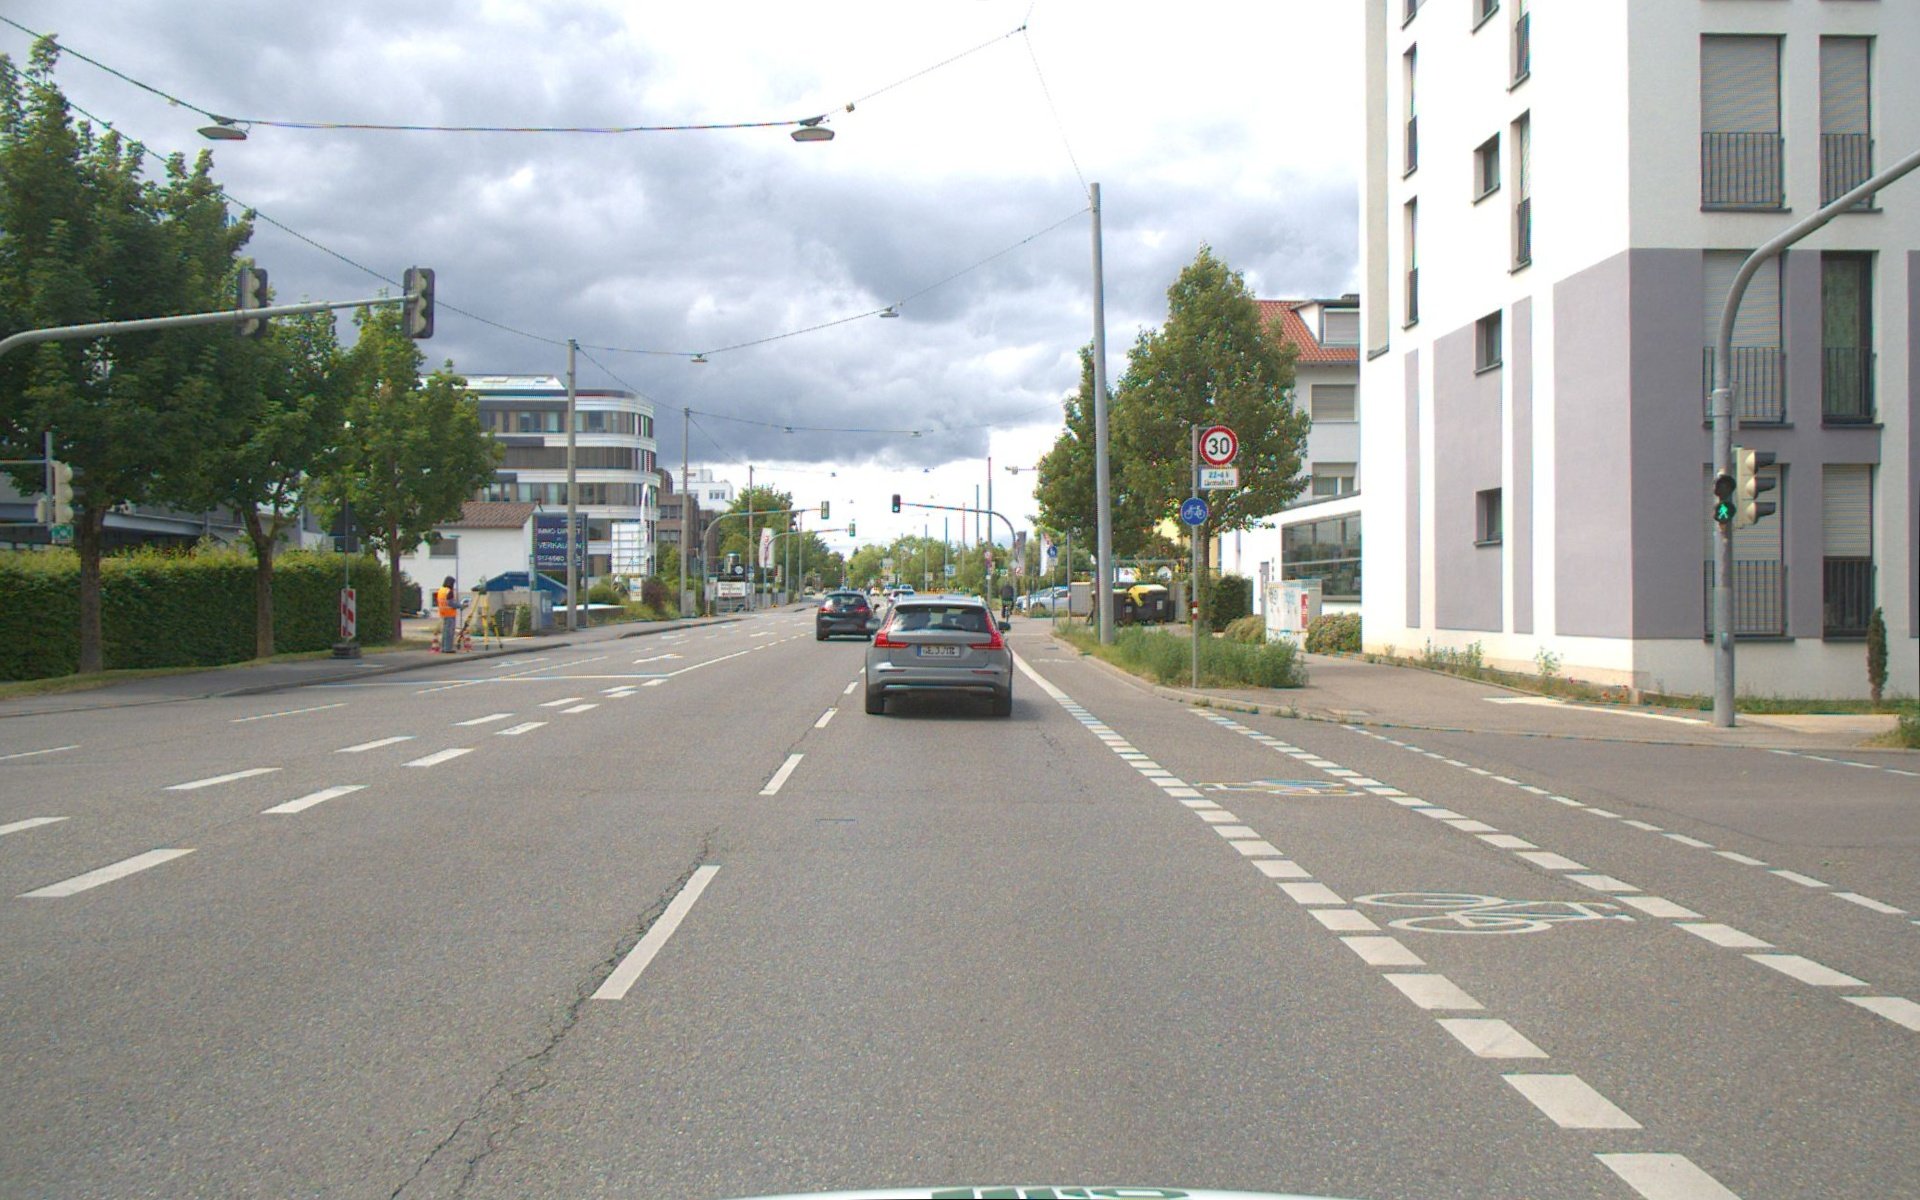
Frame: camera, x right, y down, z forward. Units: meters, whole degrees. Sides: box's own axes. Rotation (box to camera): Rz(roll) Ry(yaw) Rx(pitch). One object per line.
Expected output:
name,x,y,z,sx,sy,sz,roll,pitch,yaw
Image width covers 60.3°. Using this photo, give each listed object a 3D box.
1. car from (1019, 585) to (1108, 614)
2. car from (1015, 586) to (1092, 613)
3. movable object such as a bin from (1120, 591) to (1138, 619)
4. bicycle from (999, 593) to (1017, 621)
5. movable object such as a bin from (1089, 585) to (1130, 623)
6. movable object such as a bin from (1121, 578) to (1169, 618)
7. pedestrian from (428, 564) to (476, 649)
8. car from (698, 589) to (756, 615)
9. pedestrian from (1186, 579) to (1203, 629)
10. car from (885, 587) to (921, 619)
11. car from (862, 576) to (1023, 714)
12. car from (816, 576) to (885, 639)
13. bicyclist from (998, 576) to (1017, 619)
car,5.587,-0.036,89.574,4.601,1.519,2.045,1,1,-2
car,5.365,-0.037,95.344,4.281,1.428,1.988,1,0,-3
movable object such as a bin,6.280,0.191,61.388,0.557,1.044,0.404,-1,-1,36
bicycle,1.985,0.286,68.532,0.625,1.081,1.977,-4,0,-1
movable object such as a bin,5.458,0.147,60.514,1.291,1.385,1.252,-1,-1,15
movable object such as a bin,6.814,-0.057,60.833,1.297,1.460,1.246,-1,-1,36
pedestrian,-12.351,0.162,40.235,0.713,2.049,0.806,1,-1,42
car,-16.888,0.130,119.957,4.018,1.421,1.905,-6,2,-8
pedestrian,8.392,0.146,59.083,0.496,1.796,0.501,1,-1,15
car,-3.195,0.189,93.104,1.953,1.724,3.998,2,-1,-2
car,-0.283,0.547,21.535,1.857,1.581,3.998,2,-1,-2
car,-3.260,0.235,49.591,1.954,1.747,3.997,2,-1,-3
bicyclist,1.961,-0.109,68.585,0.625,1.704,0.890,-4,0,-1
